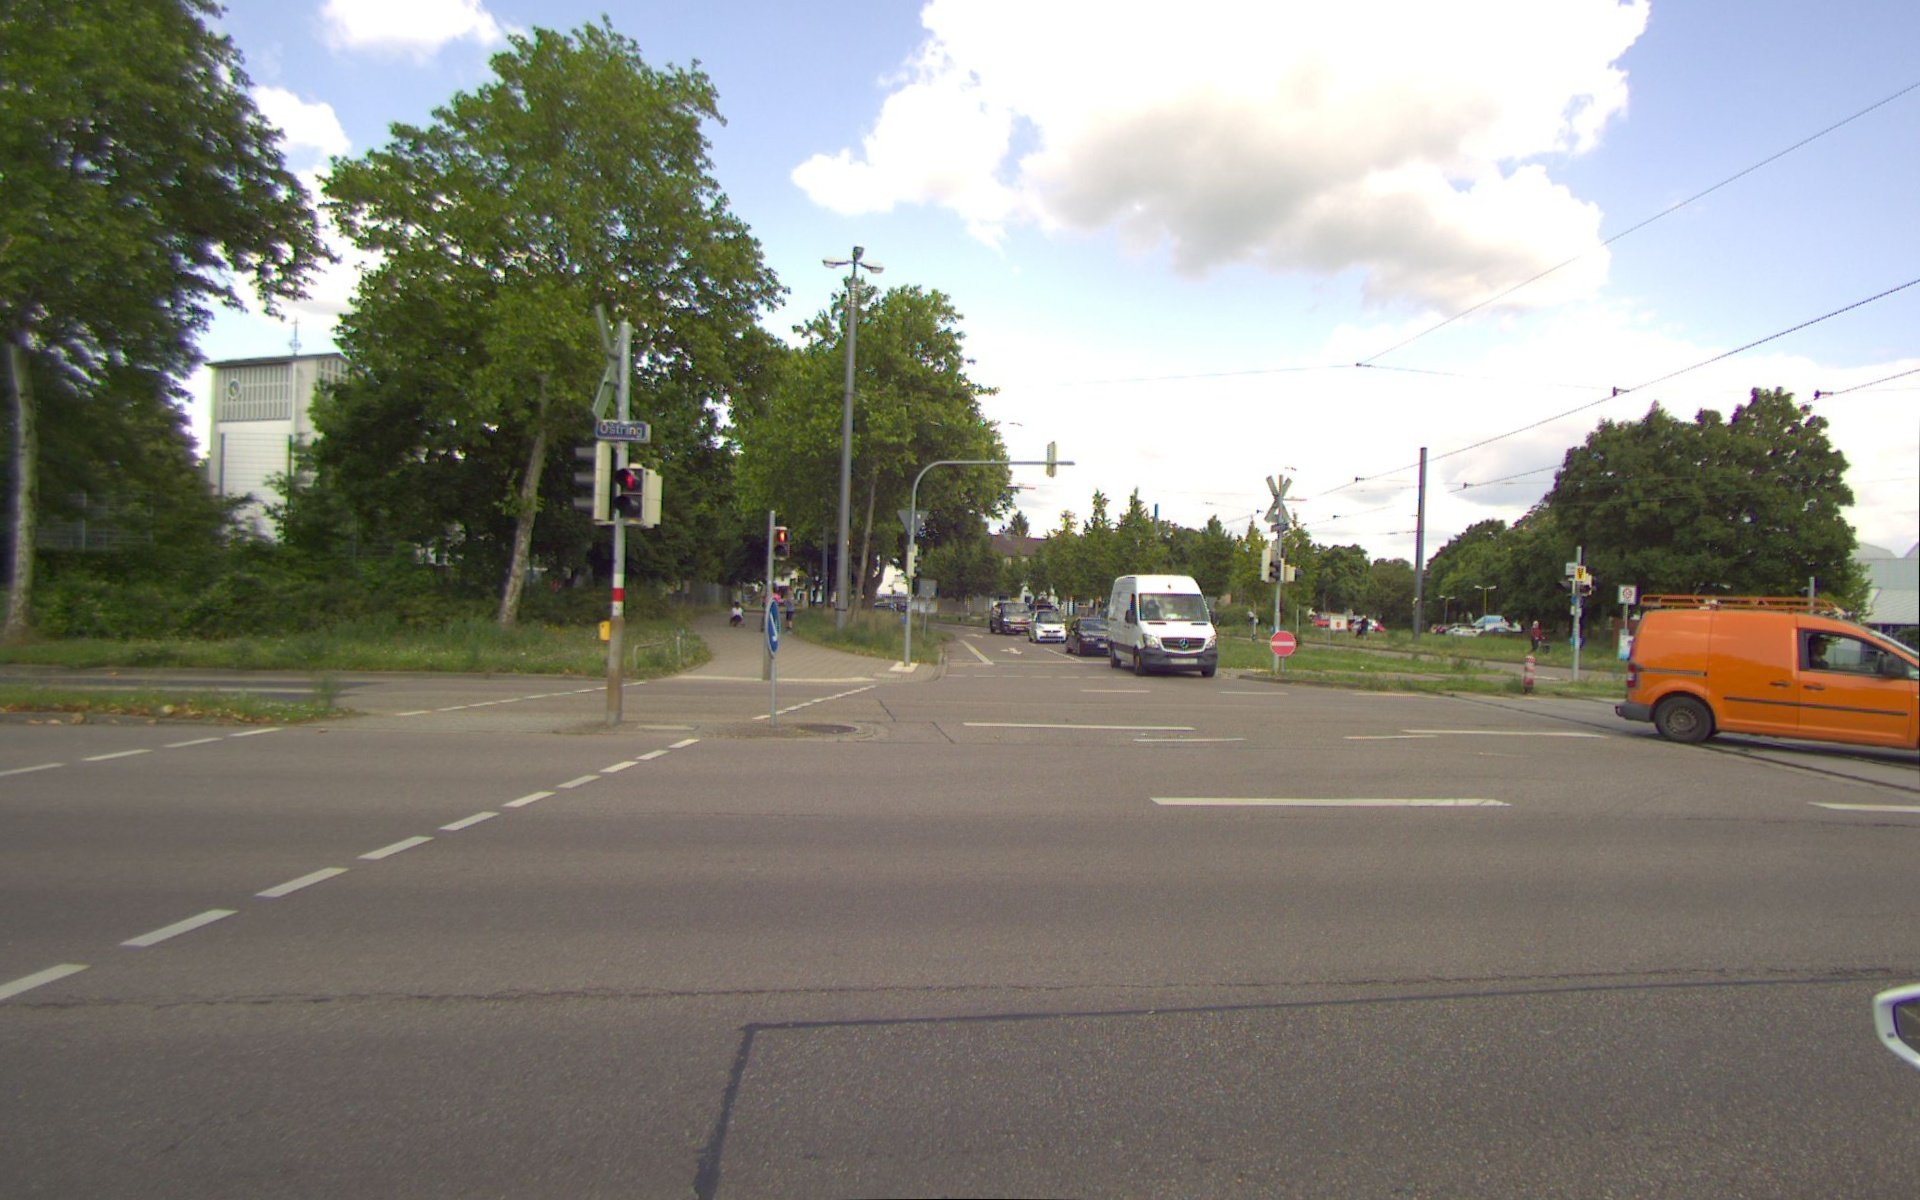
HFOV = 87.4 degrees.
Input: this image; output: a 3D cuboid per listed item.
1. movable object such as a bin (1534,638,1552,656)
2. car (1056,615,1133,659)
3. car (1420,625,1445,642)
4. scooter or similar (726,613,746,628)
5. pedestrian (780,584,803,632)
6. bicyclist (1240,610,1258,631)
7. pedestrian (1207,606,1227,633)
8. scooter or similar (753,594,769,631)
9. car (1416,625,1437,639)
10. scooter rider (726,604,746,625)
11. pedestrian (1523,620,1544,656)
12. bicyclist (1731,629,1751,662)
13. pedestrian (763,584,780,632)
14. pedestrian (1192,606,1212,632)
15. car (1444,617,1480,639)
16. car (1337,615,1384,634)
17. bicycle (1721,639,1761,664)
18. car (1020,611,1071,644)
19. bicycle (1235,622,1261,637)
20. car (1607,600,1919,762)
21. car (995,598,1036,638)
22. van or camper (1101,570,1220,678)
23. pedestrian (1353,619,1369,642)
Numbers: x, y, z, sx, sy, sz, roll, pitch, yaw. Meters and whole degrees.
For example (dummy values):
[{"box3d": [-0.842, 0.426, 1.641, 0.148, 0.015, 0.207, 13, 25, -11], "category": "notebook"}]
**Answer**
[{"box3d": [27.138, 2.181, 46.780, 0.570, 0.822, 0.457, 0, 0, -21], "category": "movable object such as a bin"}, {"box3d": [4.870, 1.313, 36.930, 1.778, 1.450, 4.465, 2, -1, -6], "category": "car"}, {"box3d": [51.093, 3.598, 108.620, 1.961, 1.662, 4.391, 2, 0, 20], "category": "car"}, {"box3d": [-8.200, 0.739, 36.772, 0.600, 0.518, 0.857, 0, 0, -5], "category": "scooter or similar"}, {"box3d": [-5.848, 0.266, 34.838, 0.620, 1.641, 0.611, 1, 0, 3], "category": "pedestrian"}, {"box3d": [21.660, 1.560, 75.281, 0.948, 1.509, 0.832, 2, 0, -19], "category": "bicyclist"}, {"box3d": [20.267, 1.535, 79.339, 1.087, 2.040, 1.174, 2, 0, -11], "category": "pedestrian"}, {"box3d": [-6.891, 0.429, 34.756, 0.315, 1.248, 0.776, 0, 0, 5], "category": "scooter or similar"}, {"box3d": [59.328, 4.062, 127.708, 1.961, 1.662, 4.391, 2, 0, 20], "category": "car"}, {"box3d": [-8.196, 0.522, 36.764, 0.600, 0.738, 0.859, 0, 0, -5], "category": "scooter rider"}, {"box3d": [26.966, 1.777, 47.256, 0.604, 1.666, 0.635, 0, 0, -20], "category": "pedestrian"}, {"box3d": [38.098, 2.212, 49.022, 0.481, 1.575, 0.552, 1, 2, -29], "category": "bicyclist"}, {"box3d": [-6.481, 0.266, 34.539, 0.413, 1.641, 0.596, 1, 0, 3], "category": "pedestrian"}, {"box3d": [19.076, 1.478, 79.142, 1.087, 2.040, 1.174, 2, 0, -11], "category": "pedestrian"}, {"box3d": [39.500, 2.170, 79.058, 1.961, 1.662, 4.390, 2, 0, 20], "category": "car"}, {"box3d": [36.681, 2.236, 92.124, 3.921, 1.550, 2.000, 2, 0, 20], "category": "car"}, {"box3d": [38.094, 2.507, 49.015, 0.556, 1.145, 1.369, 3, 0, -28], "category": "bicycle"}, {"box3d": [4.114, 1.323, 49.111, 1.777, 1.450, 4.380, 2, 0, -4], "category": "car"}, {"box3d": [21.614, 2.218, 75.341, 0.936, 1.054, 1.976, 2, 0, -17], "category": "bicycle"}, {"box3d": [11.163, 0.978, 13.032, 1.871, 1.824, 4.315, 2, 0, -42], "category": "car"}, {"box3d": [3.208, 1.019, 58.945, 1.820, 2.184, 4.380, 2, 0, -4], "category": "car"}, {"box3d": [5.196, 0.598, 26.910, 1.943, 2.558, 6.037, 1, 0, 0], "category": "van or camper"}, {"box3d": [24.804, 1.872, 62.090, 0.639, 1.372, 0.751, 0, 0, -5], "category": "pedestrian"}]
